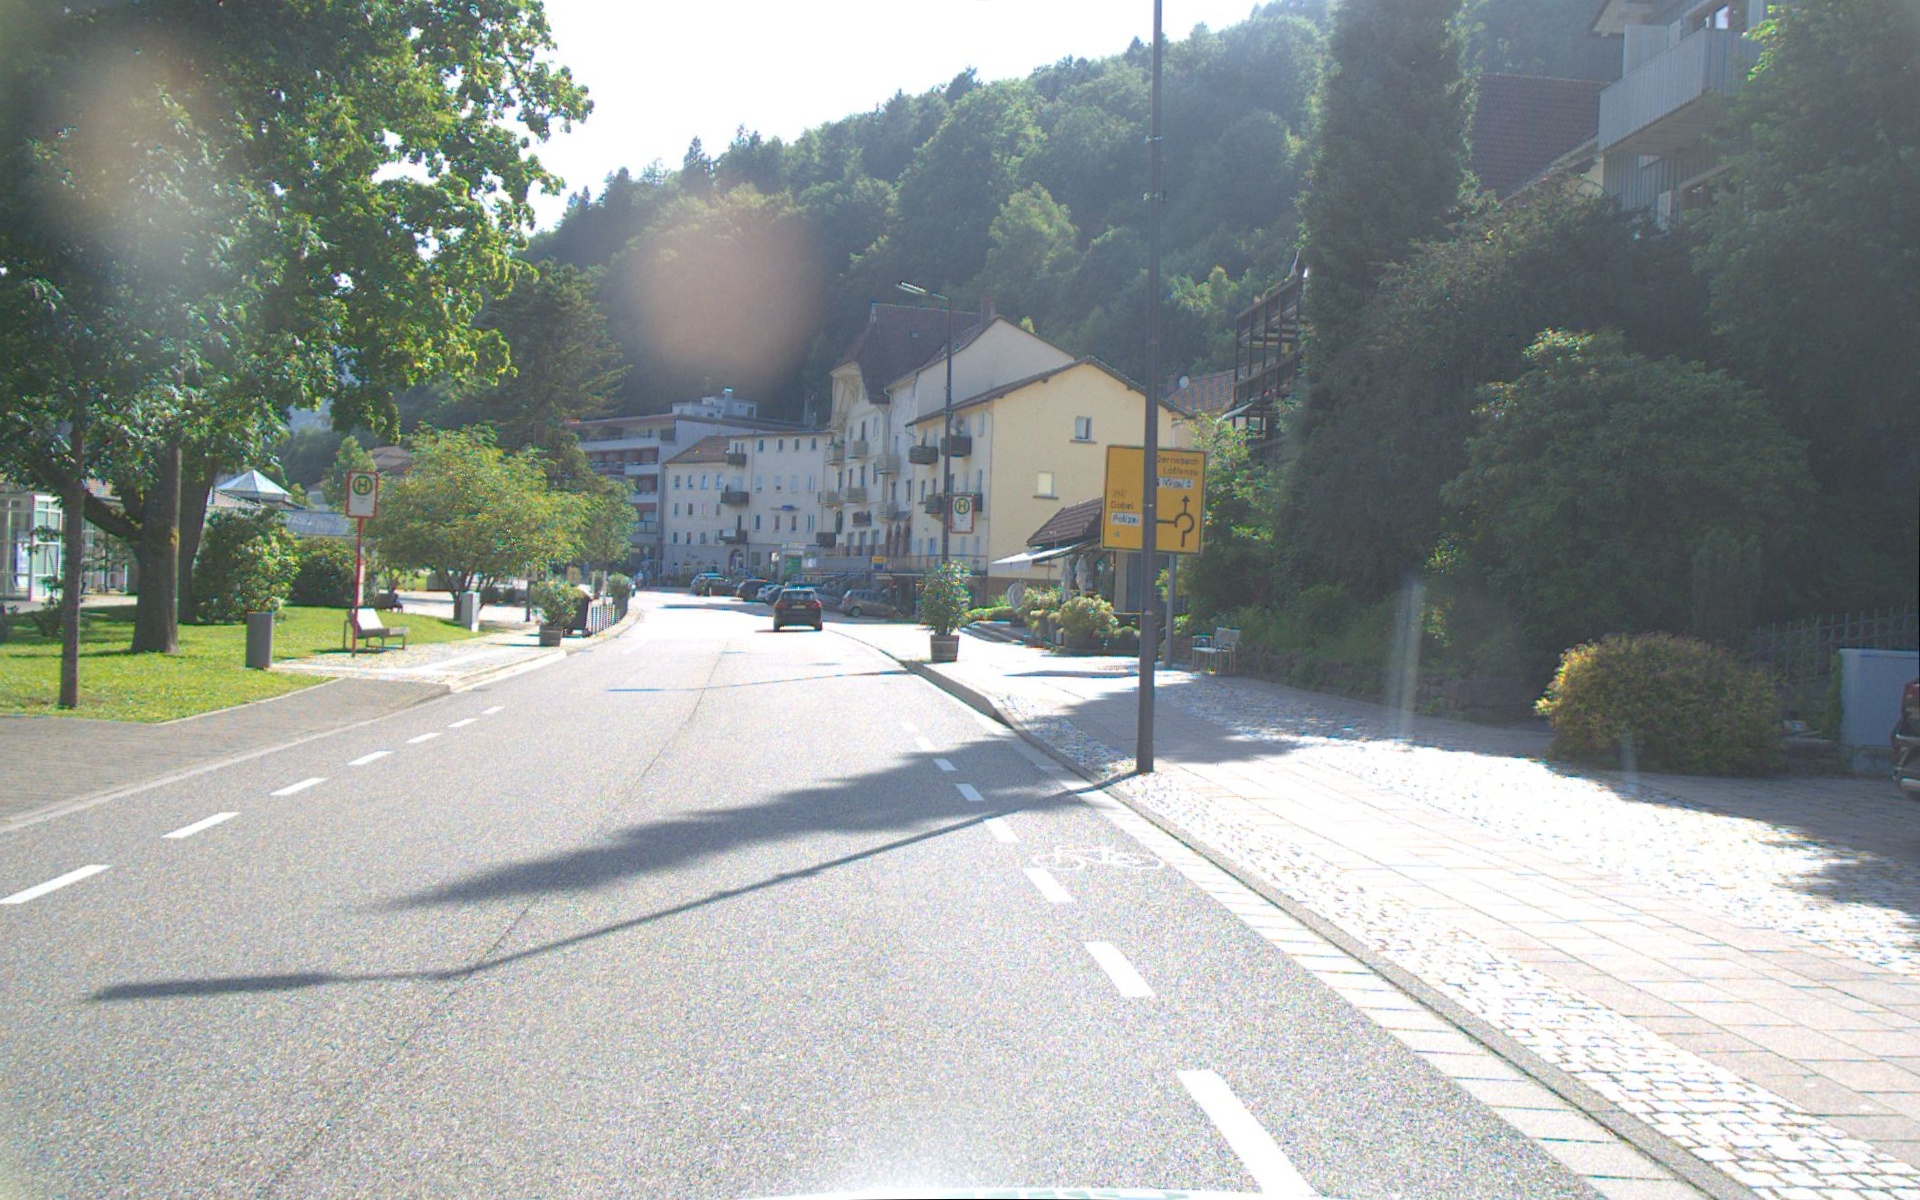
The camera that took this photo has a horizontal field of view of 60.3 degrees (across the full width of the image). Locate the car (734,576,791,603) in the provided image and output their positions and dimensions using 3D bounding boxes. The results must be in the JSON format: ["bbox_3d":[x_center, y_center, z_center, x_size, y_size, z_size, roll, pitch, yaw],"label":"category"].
[{"bbox_3d":[-15.222,-0.812,127.281,4.018,1.694,1.765,5,0,-16],"label":"car"}]

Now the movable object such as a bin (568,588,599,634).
[{"bbox_3d":[-11.792,0.341,51.829,0.741,1.365,1.292,4,0,-9],"label":"movable object such as a bin"}]

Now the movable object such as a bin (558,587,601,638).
[{"bbox_3d":[-11.472,0.362,49.894,1.059,1.452,1.374,4,0,-9],"label":"movable object such as a bin"}]

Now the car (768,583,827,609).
[{"bbox_3d":[-11.433,-0.254,116.560,3.846,1.486,1.729,5,0,-16],"label":"car"}]

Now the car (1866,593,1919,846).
[{"bbox_3d":[8.044,0.808,10.373,3.799,1.607,1.747,1,0,-4],"label":"car"}]

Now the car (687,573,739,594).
[{"bbox_3d":[-20.495,-1.401,137.261,3.938,1.691,1.983,0,1,-27],"label":"car"}]

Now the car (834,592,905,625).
[{"bbox_3d":[-5.382,0.509,98.043,3.800,1.581,1.752,5,0,-19],"label":"car"}]

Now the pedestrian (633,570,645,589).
[{"bbox_3d":[-29.140,-1.845,150.182,0.752,1.621,0.619,3,0,-38],"label":"pedestrian"}]

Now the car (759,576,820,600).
[{"bbox_3d":[-12.652,-0.868,122.887,4.282,1.486,1.766,4,-1,-14],"label":"car"}]

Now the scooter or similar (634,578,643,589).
[{"bbox_3d":[-29.239,-1.516,150.285,0.592,0.967,0.468,3,0,-38],"label":"scooter or similar"}]

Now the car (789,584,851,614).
[{"bbox_3d":[-9.424,-0.082,111.369,3.846,1.616,1.767,5,0,-16],"label":"car"}]

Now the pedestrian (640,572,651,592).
[{"bbox_3d":[-28.740,-1.675,151.179,0.664,1.758,0.698,3,0,-38],"label":"pedestrian"}]

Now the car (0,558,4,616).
[{"bbox_3d":[-9.935,0.320,14.002,2.597,1.573,1.682,4,0,0],"label":"car"}]

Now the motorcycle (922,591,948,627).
[{"bbox_3d":[-0.977,0.330,63.932,0.684,1.319,2.207,-1,1,-9],"label":"motorcycle"}]

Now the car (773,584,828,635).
[{"bbox_3d":[-5.896,0.324,60.694,1.695,1.601,3.746,3,2,-9],"label":"car"}]
